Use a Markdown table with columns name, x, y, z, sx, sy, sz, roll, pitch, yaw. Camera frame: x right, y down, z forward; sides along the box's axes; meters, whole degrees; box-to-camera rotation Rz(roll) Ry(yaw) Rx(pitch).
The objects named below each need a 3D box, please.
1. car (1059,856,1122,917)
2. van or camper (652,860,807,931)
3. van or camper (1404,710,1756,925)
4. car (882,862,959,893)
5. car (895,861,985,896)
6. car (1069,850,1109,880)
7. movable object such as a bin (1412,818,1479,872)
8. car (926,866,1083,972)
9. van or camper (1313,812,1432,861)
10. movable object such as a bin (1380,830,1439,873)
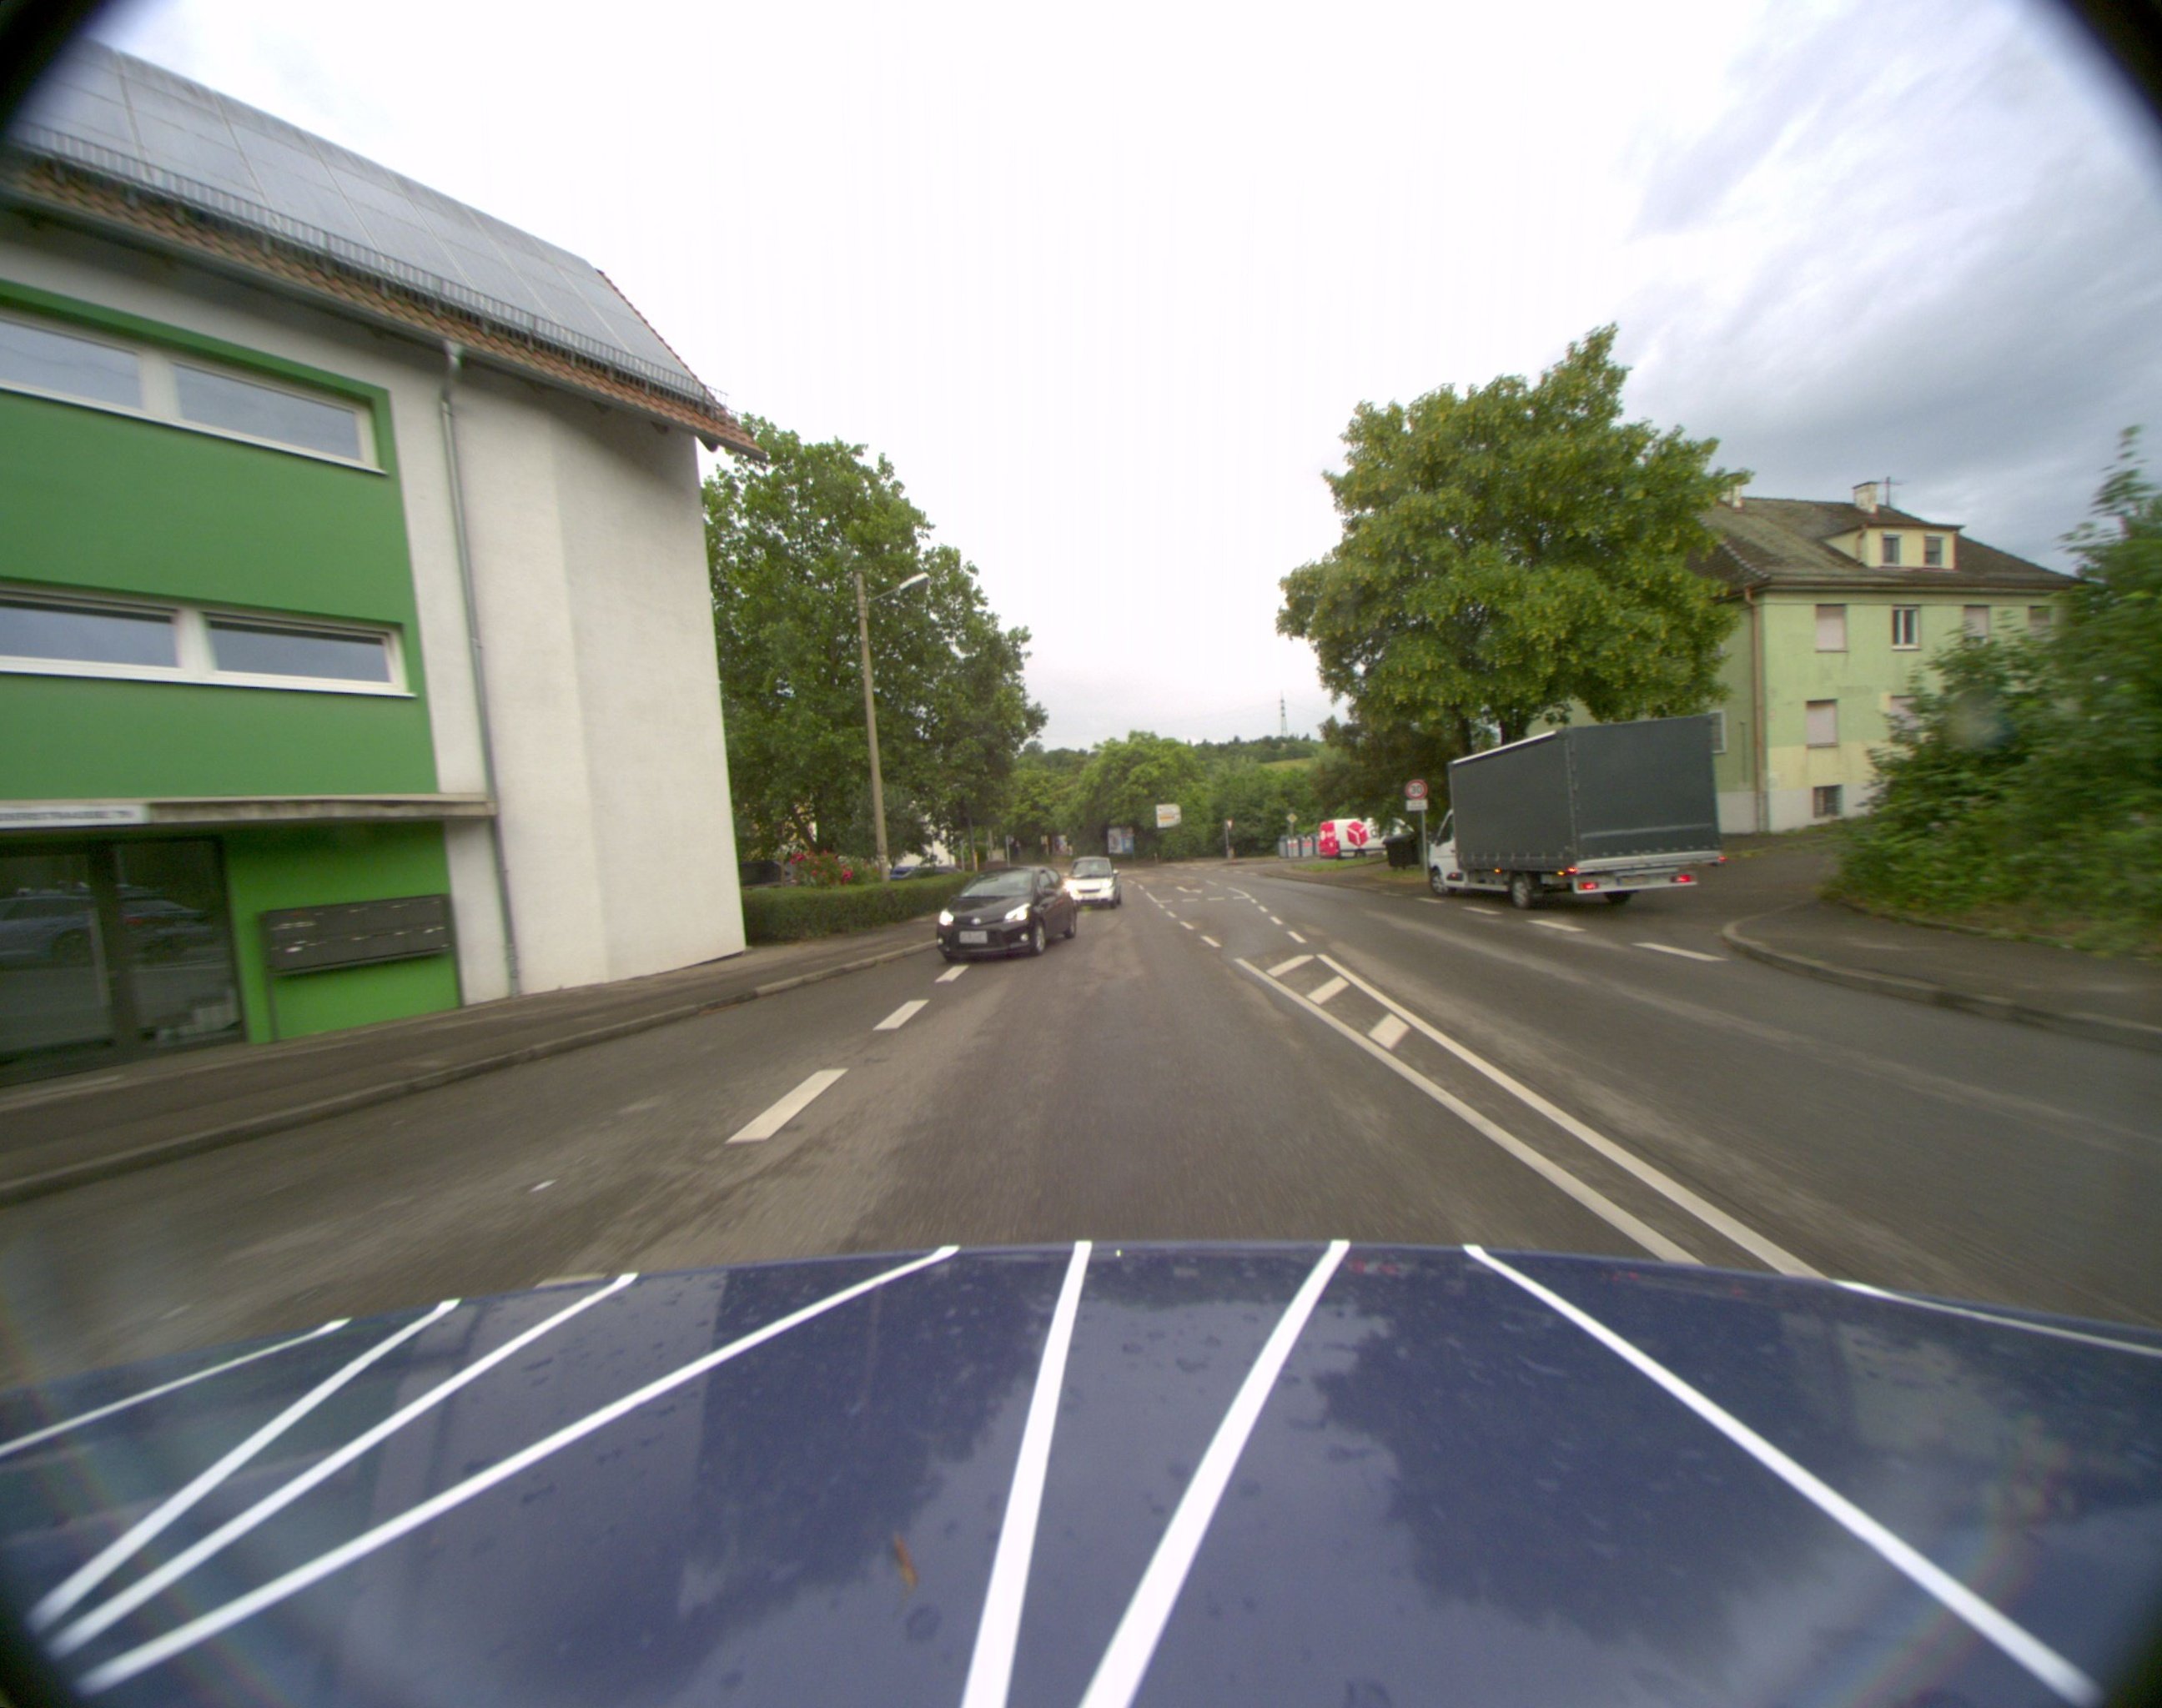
| name | x | y | z | sx | sy | sz | roll | pitch | yaw |
| --- | --- | --- | --- | --- | --- | --- | --- | --- | --- |
| car | 0.351 | 0.909 | 22.854 | 1.644 | 1.548 | 3.628 | -4 | 0 | 3 |
| van or camper | -11.453 | 1.302 | 25.122 | 4.331 | 1.893 | 1.997 | -4 | 1 | -19 |
| van or camper | 9.806 | -0.626 | 16.316 | 2.704 | 3.315 | 7.763 | -4 | 0 | 4 |
| car | -9.187 | 1.326 | 43.445 | 4.003 | 1.455 | 1.858 | -4 | 1 | -20 |
| car | -7.626 | 1.308 | 41.001 | 4.396 | 1.504 | 1.997 | -4 | 1 | -19 |
| car | 0.408 | 0.641 | 44.310 | 1.708 | 1.548 | 3.997 | -4 | 0 | -7 |
| movable object such as a bin | 13.347 | -0.324 | 27.816 | 1.580 | 1.750 | 1.451 | -5 | -2 | -35 |
| car | -1.204 | 1.061 | 13.828 | 1.643 | 1.449 | 4.003 | -5 | 0 | 11 |
| van or camper | 17.965 | -1.086 | 46.837 | 6.700 | 2.507 | 2.220 | -4 | 1 | -17 |
| movable object such as a bin | 12.515 | -0.099 | 28.973 | 1.475 | 1.432 | 1.374 | -5 | -2 | -35 |
